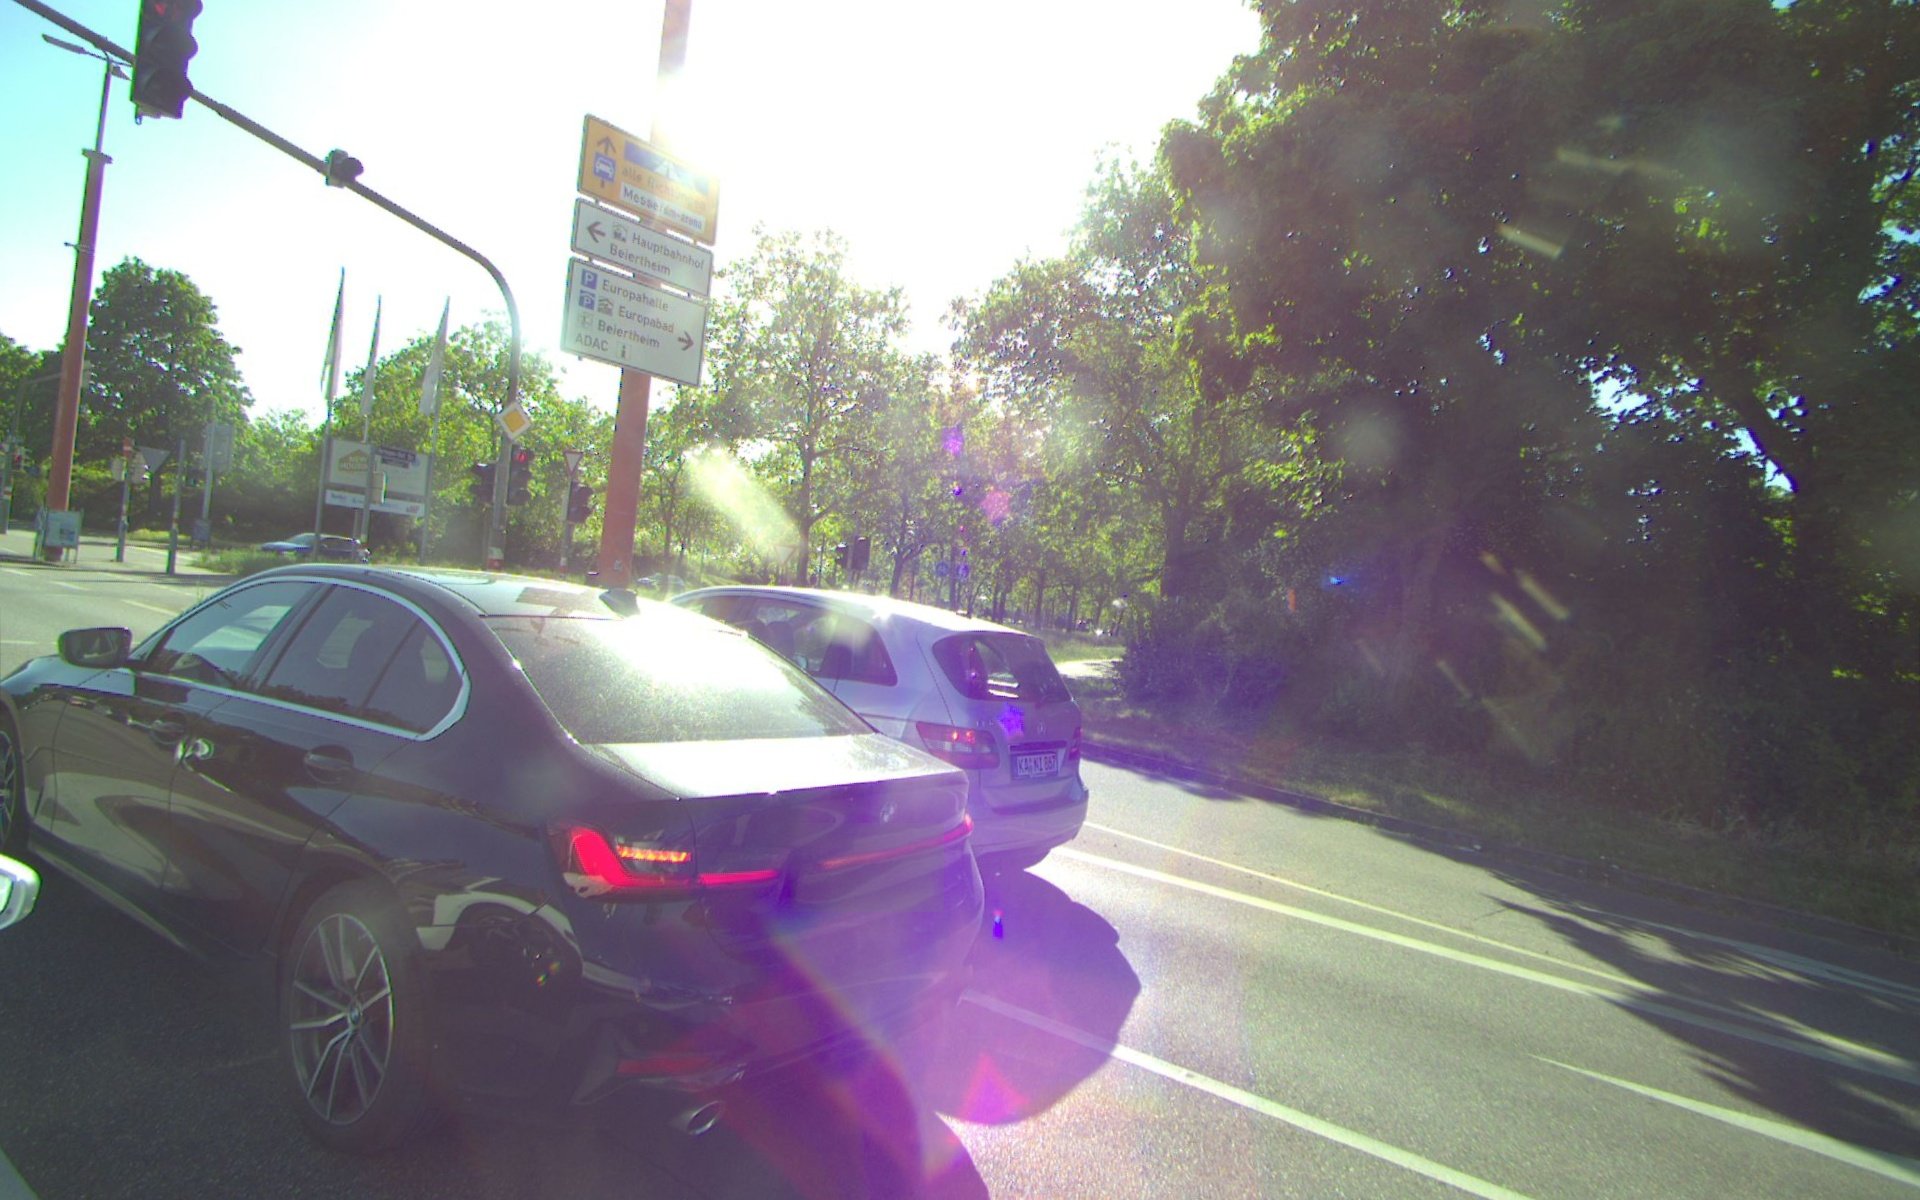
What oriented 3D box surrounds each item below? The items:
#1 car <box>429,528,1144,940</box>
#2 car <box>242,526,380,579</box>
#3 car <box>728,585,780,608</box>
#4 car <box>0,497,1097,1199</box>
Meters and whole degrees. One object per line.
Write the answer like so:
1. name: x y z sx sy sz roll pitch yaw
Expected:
1. car: -1.284 0.643 6.781 4.403 1.706 1.970 7 -1 32
2. car: -24.967 -1.783 38.892 1.848 1.445 4.283 7 -1 14
3. car: -19.222 -0.348 93.844 4.231 1.592 2.151 7 -1 -28
4. car: -1.963 0.532 3.873 4.403 1.411 1.996 7 0 32
